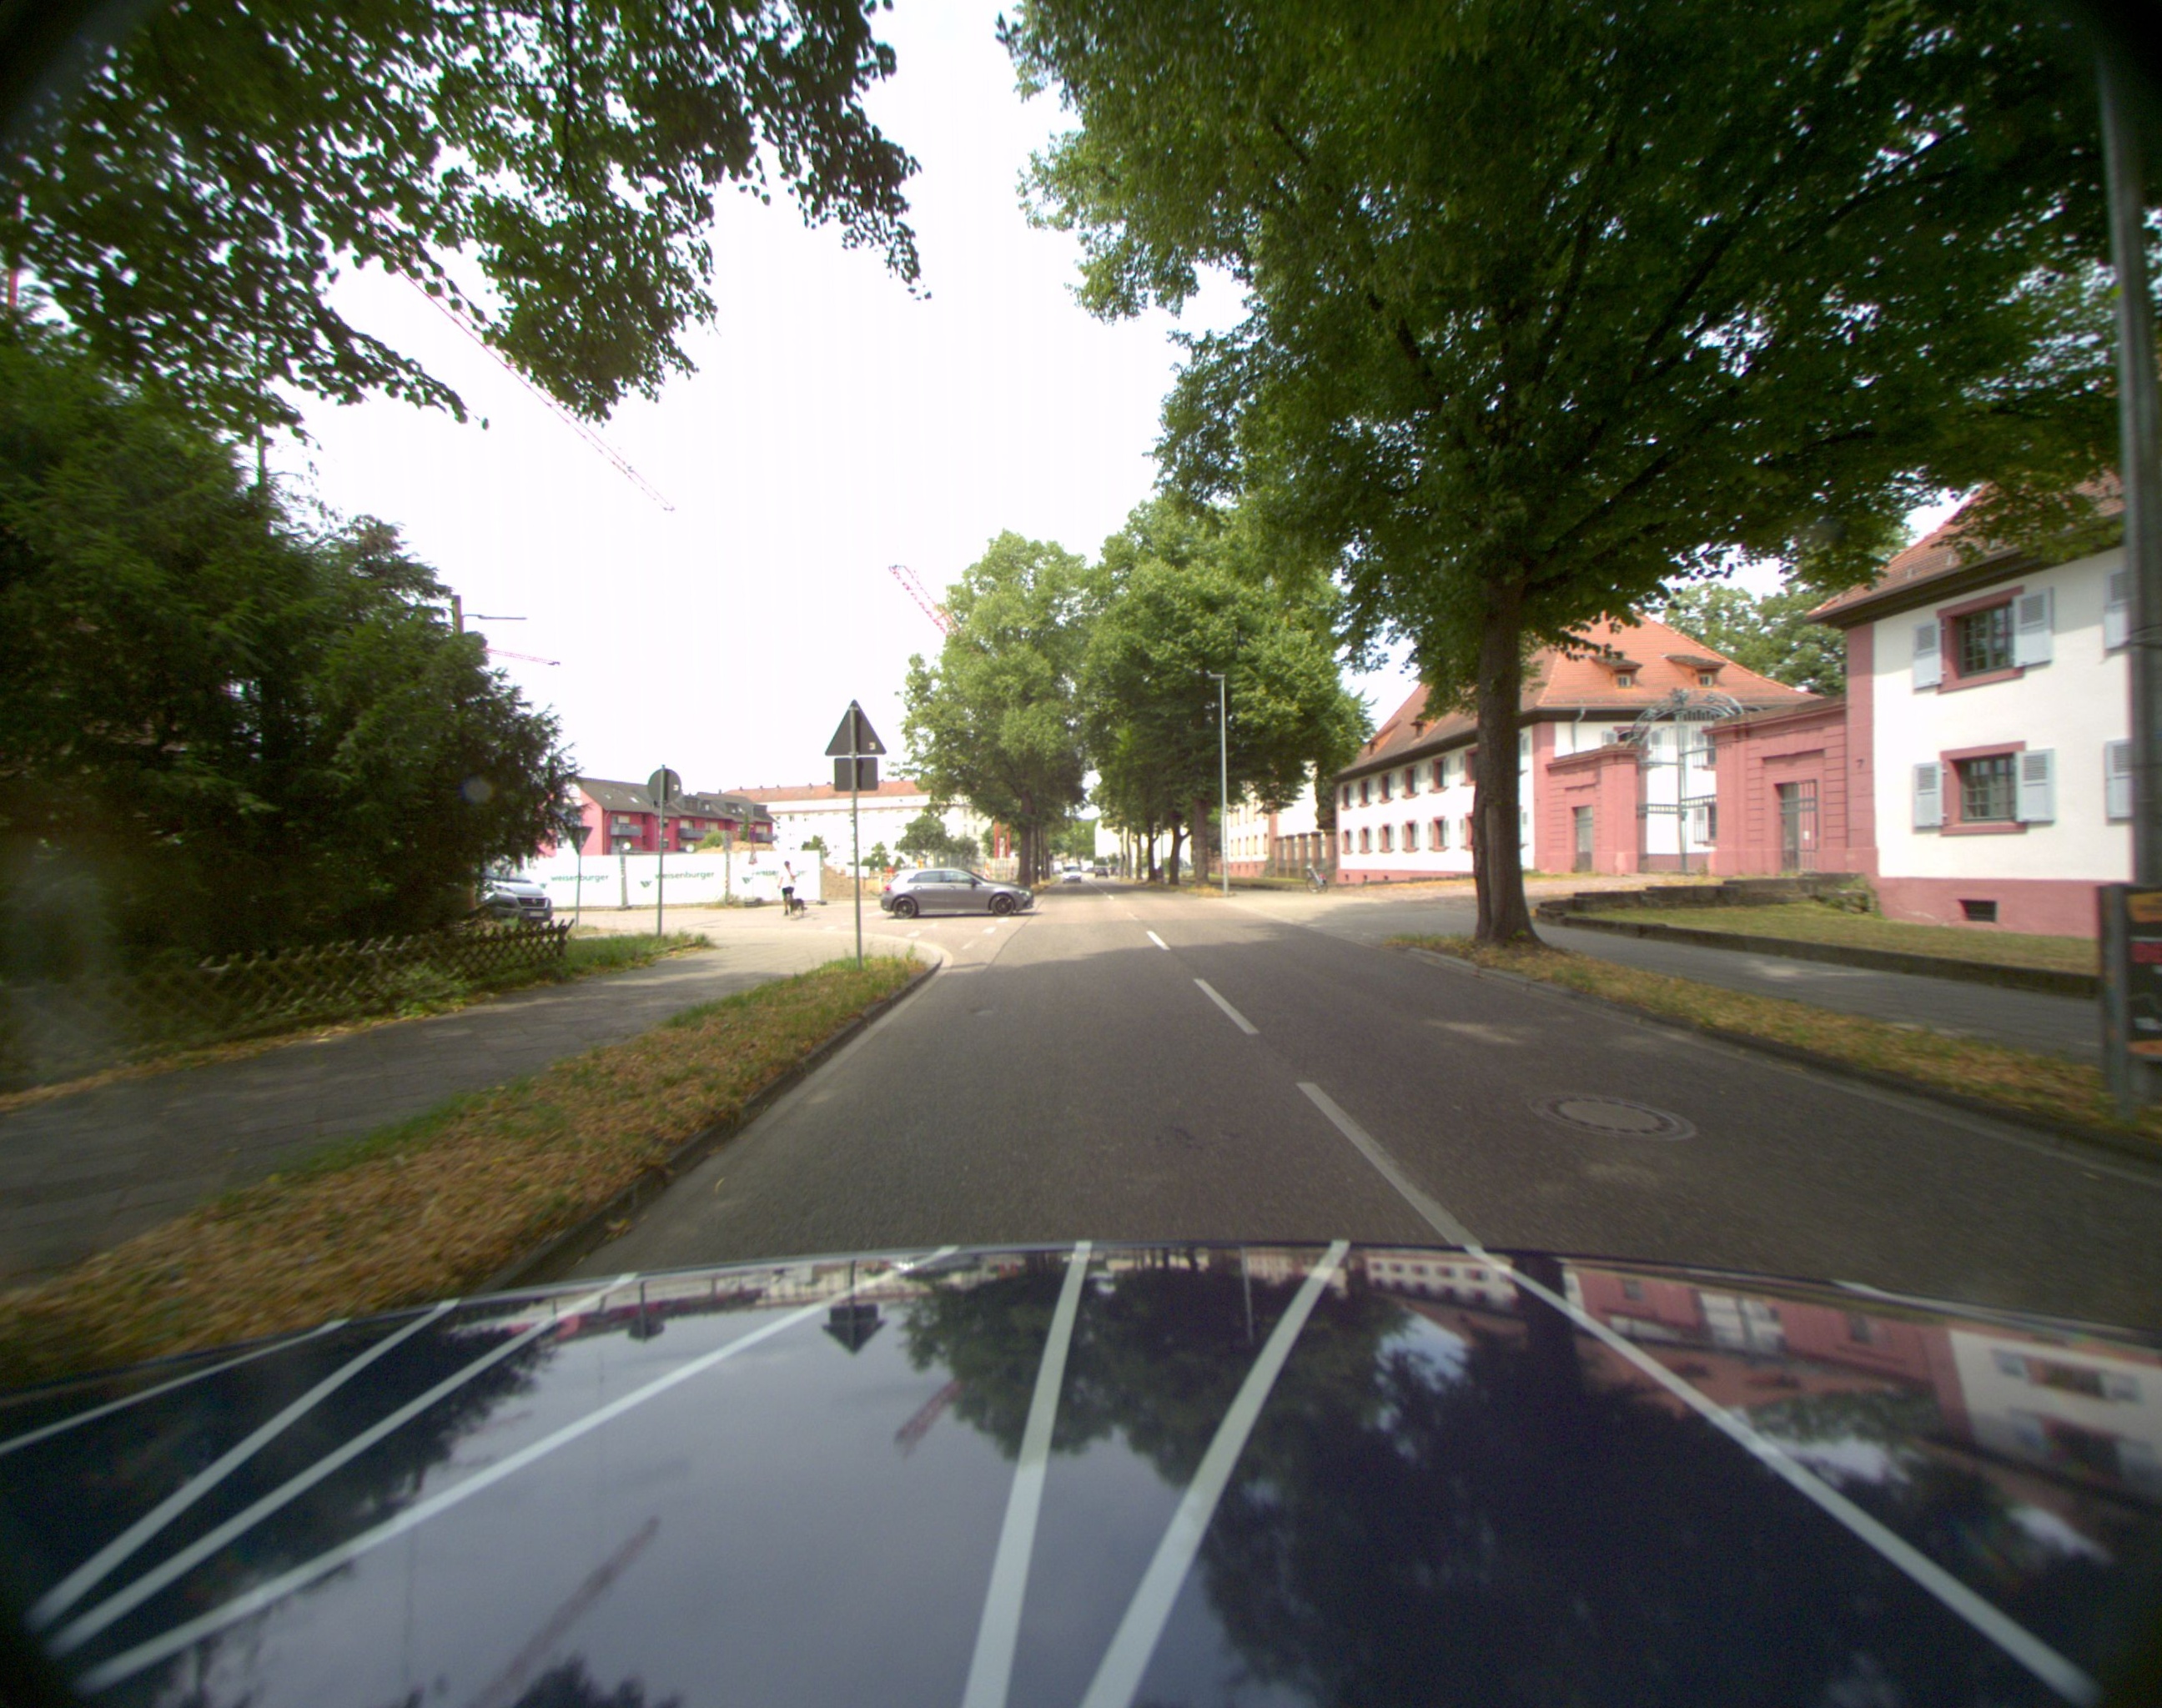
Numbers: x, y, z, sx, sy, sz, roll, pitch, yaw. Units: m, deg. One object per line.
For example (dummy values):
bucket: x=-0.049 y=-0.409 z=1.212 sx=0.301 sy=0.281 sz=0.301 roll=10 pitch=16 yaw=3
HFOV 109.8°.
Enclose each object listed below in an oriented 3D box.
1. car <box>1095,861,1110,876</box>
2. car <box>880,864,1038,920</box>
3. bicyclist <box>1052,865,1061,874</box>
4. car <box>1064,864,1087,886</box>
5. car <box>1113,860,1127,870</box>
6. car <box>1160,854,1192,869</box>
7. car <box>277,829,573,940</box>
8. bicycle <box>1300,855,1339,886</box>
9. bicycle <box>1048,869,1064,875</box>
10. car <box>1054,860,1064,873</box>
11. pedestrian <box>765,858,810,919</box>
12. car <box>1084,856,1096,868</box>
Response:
car: x=2.925 y=1.969 z=103.933 sx=1.776 sy=1.651 sz=4.253 roll=0 pitch=5 yaw=-1
car: x=-3.491 y=1.086 z=22.417 sx=4.384 sy=1.434 sz=2.010 roll=-1 pitch=1 yaw=-4
bicyclist: x=-3.919 y=2.512 z=121.172 sx=1.078 sy=1.404 sz=0.716 roll=-4 pitch=-3 yaw=31
car: x=-0.588 y=2.018 z=73.917 sx=1.999 sy=2.002 sz=3.999 roll=1 pitch=0 yaw=-4
car: x=6.355 y=1.736 z=123.194 sx=1.827 sy=1.464 sz=4.297 roll=-3 pitch=-1 yaw=-3
car: x=17.230 y=1.377 z=137.767 sx=5.324 sy=2.537 sz=2.355 roll=-3 pitch=0 yaw=1
car: x=-16.480 y=0.782 z=19.341 sx=5.486 sy=2.615 sz=2.337 roll=0 pitch=-2 yaw=1
bicycle: x=9.362 y=0.646 z=29.858 sx=0.724 sy=1.088 sz=2.225 roll=-5 pitch=-1 yaw=-1
bicycle: x=-3.949 y=2.898 z=121.194 sx=2.473 sy=0.927 sz=0.716 roll=-2 pitch=-2 yaw=31
car: x=-4.758 y=2.644 z=162.785 sx=1.900 sy=2.586 sz=4.903 roll=-3 pitch=0 yaw=-4
pedestrian: x=-8.976 y=1.030 z=23.275 sx=0.883 sy=1.803 sz=0.890 roll=1 pitch=0 yaw=18
car: x=2.279 y=2.075 z=196.290 sx=2.622 sy=3.039 sz=7.113 roll=1 pitch=-1 yaw=-4
